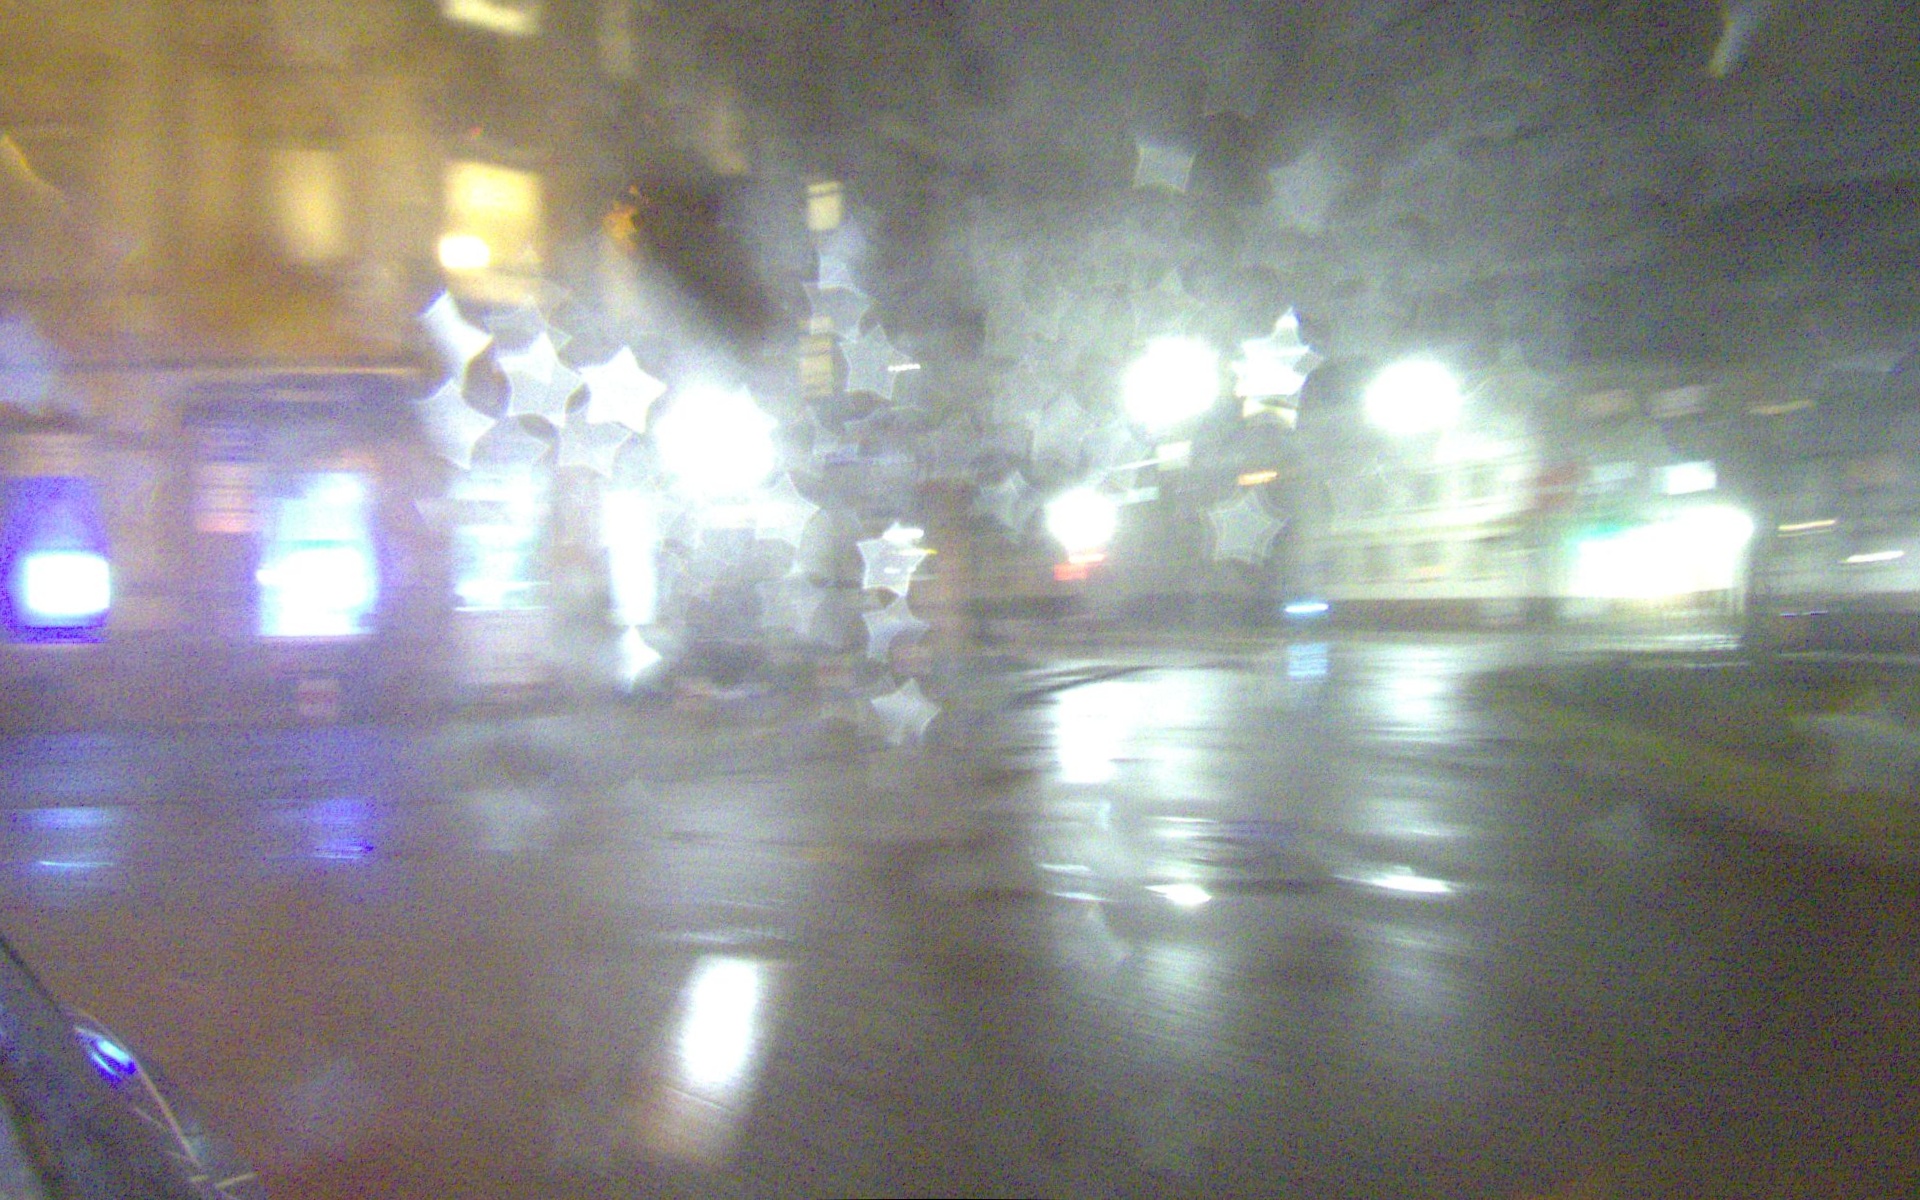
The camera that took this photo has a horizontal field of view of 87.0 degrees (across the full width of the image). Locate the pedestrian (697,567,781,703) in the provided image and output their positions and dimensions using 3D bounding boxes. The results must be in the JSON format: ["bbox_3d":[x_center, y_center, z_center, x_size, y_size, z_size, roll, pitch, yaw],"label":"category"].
[{"bbox_3d":[-3.104,0.459,14.253,0.691,1.834,0.938,0,2,28],"label":"pedestrian"}]

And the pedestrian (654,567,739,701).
[{"bbox_3d":[-3.784,0.457,14.574,0.692,1.834,0.936,0,2,32],"label":"pedestrian"}]

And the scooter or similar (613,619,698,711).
[{"bbox_3d":[-4.100,0.858,13.665,0.571,1.134,0.922,1,3,34],"label":"scooter or similar"}]
